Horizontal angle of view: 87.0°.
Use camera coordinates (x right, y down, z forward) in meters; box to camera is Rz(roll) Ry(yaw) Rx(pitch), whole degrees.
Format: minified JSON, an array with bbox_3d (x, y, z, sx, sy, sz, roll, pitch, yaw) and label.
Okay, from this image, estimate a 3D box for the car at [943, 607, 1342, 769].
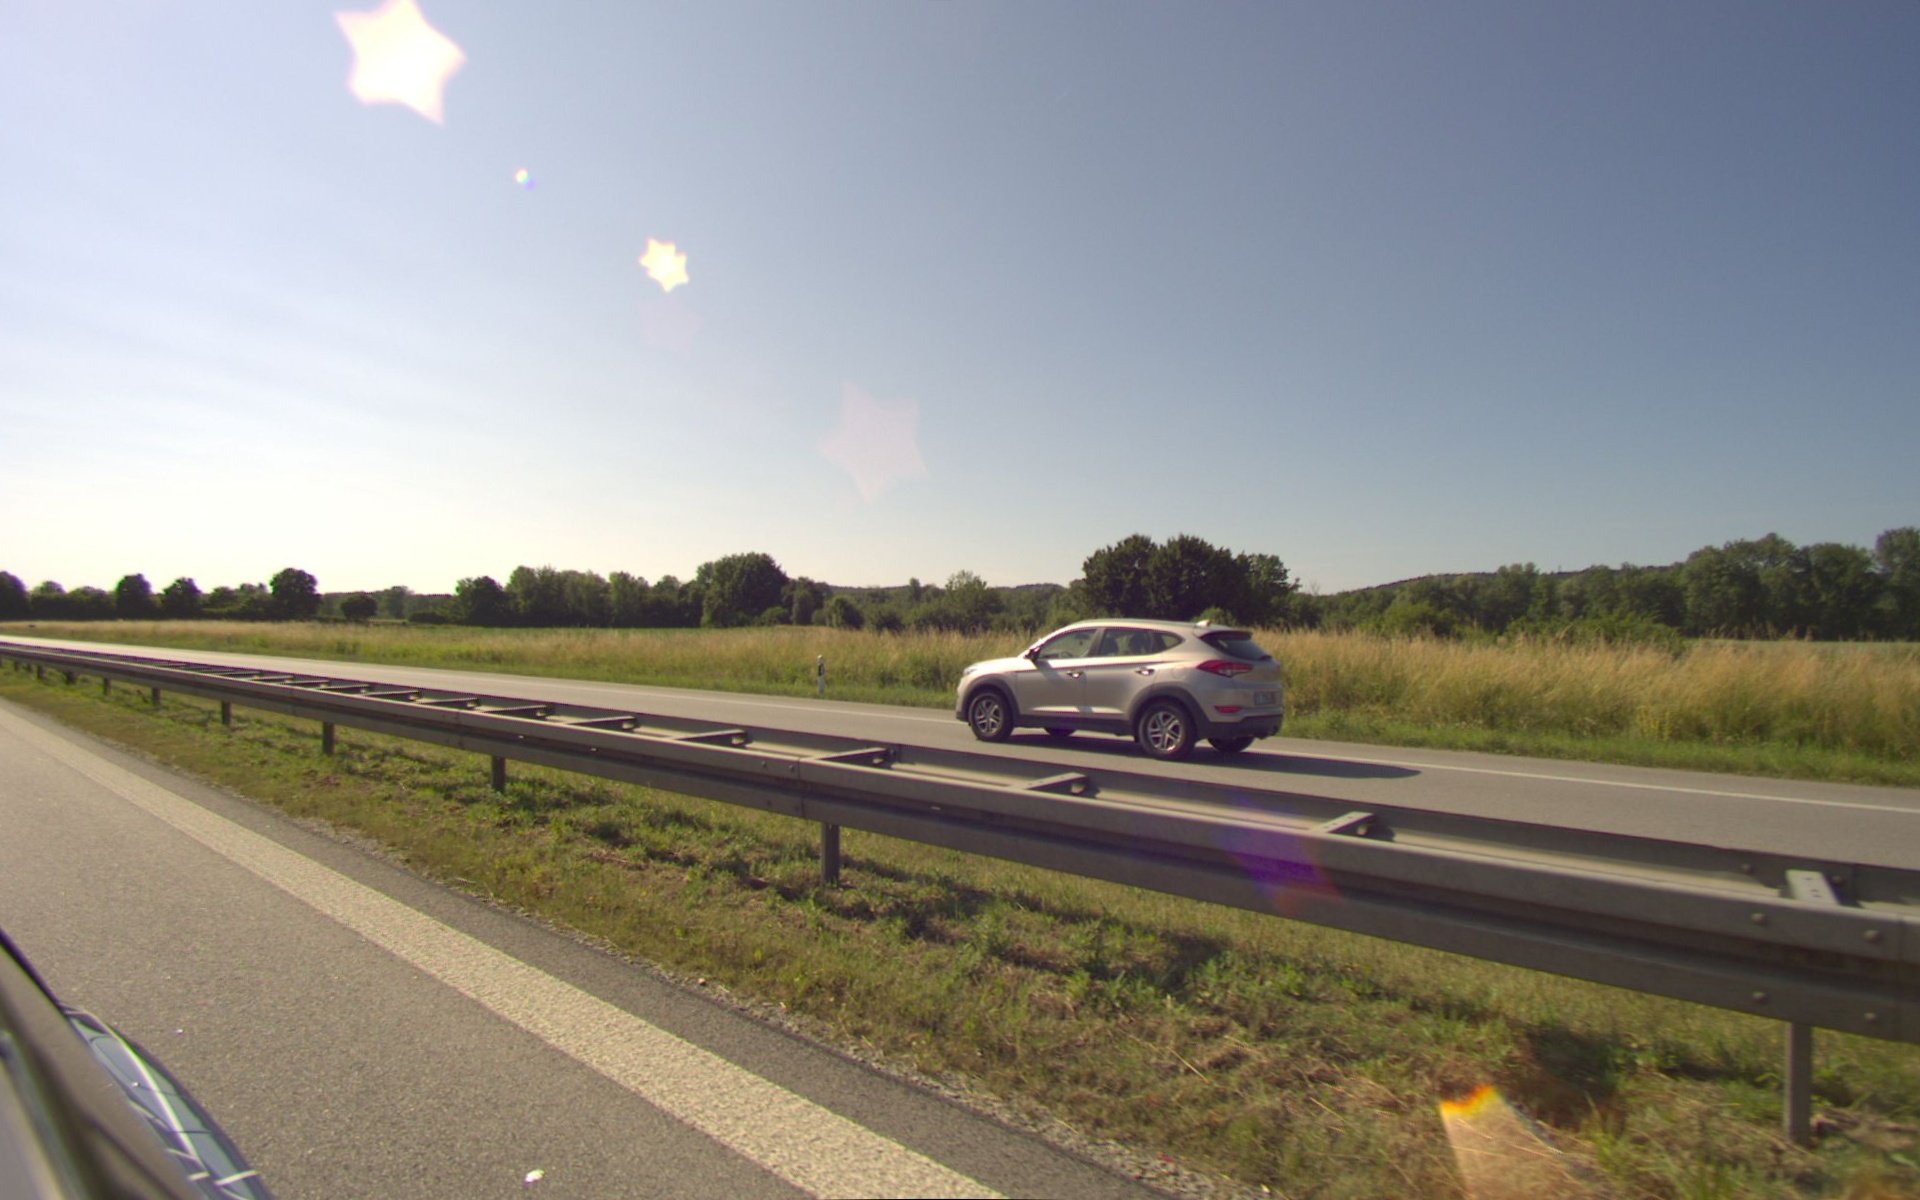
[{"bbox_3d":[2.168,0.979,12.914,4.729,1.696,1.882,-1,-3,41],"label":"car"}]
